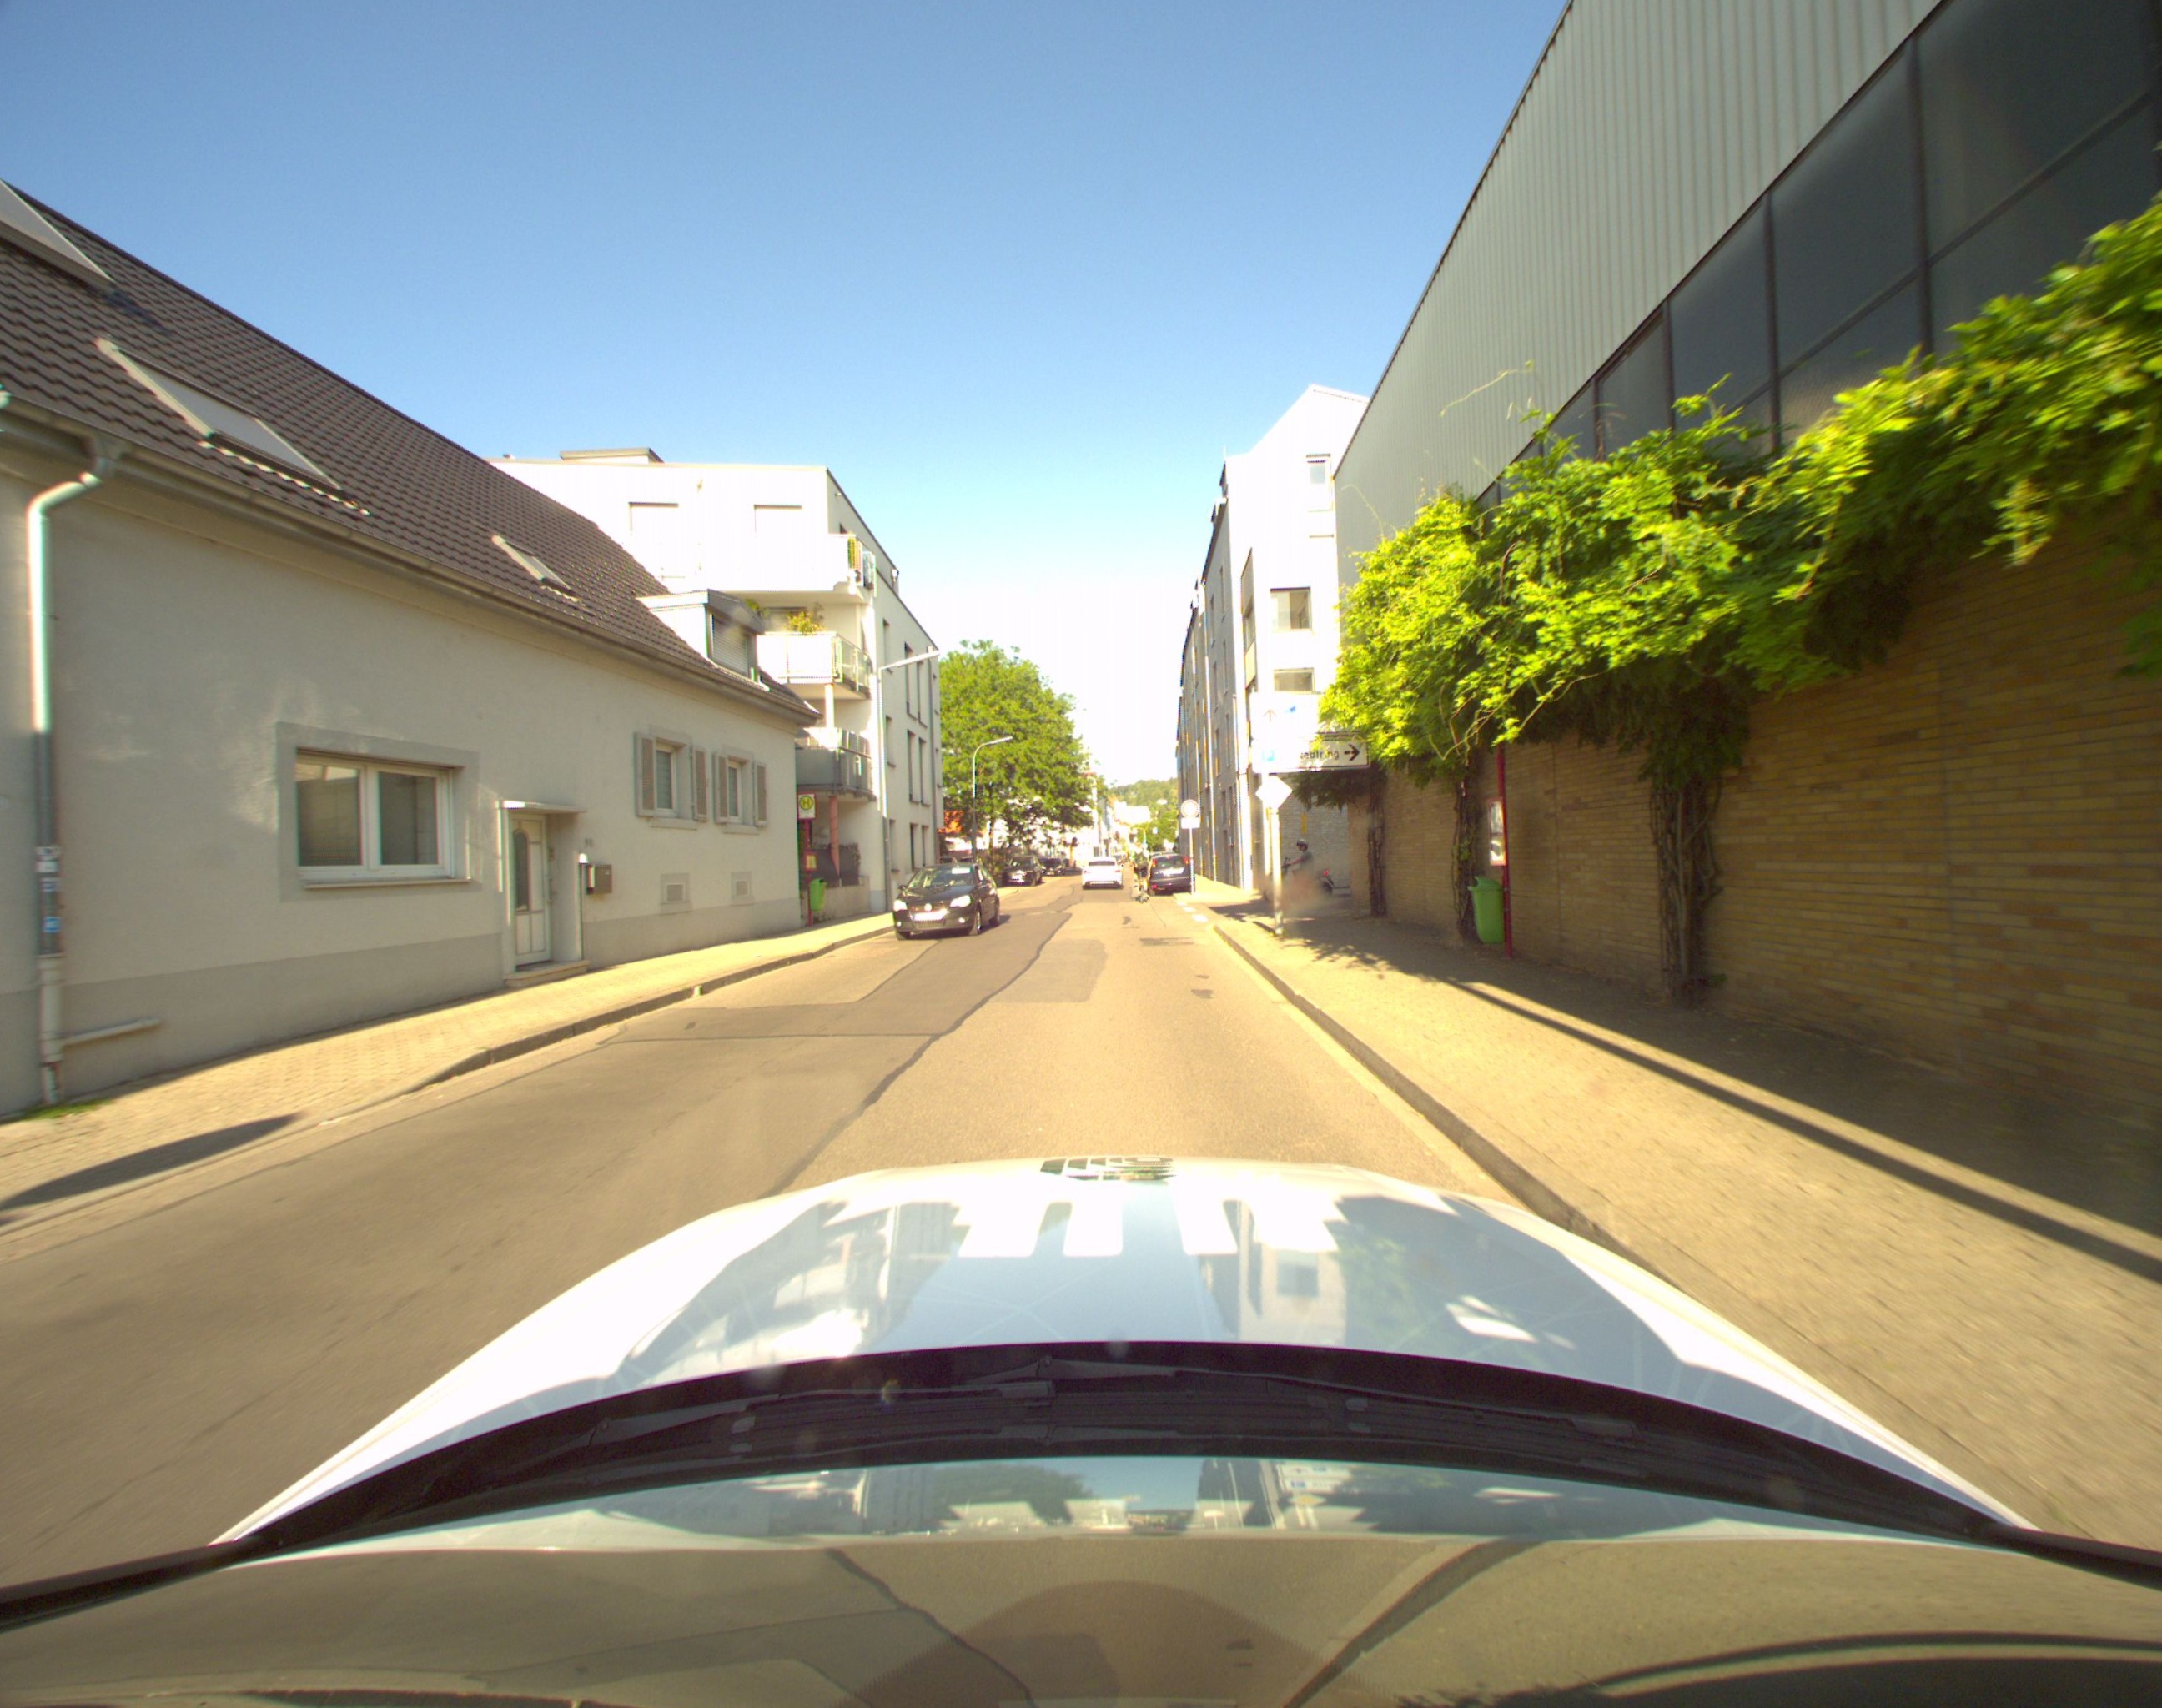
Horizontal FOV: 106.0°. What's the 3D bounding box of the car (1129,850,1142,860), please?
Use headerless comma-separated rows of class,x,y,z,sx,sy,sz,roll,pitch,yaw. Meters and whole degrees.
car,10.172,0.103,151.479,1.935,1.587,4.631,-6,0,7

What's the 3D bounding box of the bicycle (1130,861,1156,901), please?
bicycle,1.885,0.808,25.059,0.695,1.130,2.404,-2,0,3

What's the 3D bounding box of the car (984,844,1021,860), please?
car,-8.424,-0.203,87.688,3.896,1.575,1.706,-3,0,-6

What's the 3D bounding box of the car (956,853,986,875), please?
car,-8.855,0.779,65.775,1.784,1.689,3.965,-1,1,0

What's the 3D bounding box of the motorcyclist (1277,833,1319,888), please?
motorcyclist,5.991,0.181,22.478,0.868,1.472,0.901,-3,-1,31

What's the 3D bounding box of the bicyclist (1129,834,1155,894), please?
bicyclist,1.860,0.306,25.033,0.695,1.790,1.041,-2,0,3

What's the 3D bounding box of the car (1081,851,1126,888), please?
car,0.970,0.654,36.592,1.836,1.491,4.144,-2,0,1

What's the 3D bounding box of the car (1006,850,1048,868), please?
car,-5.363,0.456,81.128,3.883,1.575,1.712,-3,0,4

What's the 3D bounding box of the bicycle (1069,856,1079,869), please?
bicycle,-0.673,0.885,82.039,0.832,1.217,2.843,-3,0,1

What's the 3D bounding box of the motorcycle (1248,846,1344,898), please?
motorcycle,5.939,0.509,22.514,2.312,1.281,0.901,-5,-2,31

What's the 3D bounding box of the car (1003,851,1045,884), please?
car,-3.363,0.757,48.533,1.845,1.791,4.611,-3,0,3

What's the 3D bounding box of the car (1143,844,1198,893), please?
car,3.364,0.521,31.206,1.624,1.587,4.070,-6,0,1

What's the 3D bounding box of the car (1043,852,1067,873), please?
car,-2.113,0.711,66.806,1.698,1.575,3.915,-3,0,1

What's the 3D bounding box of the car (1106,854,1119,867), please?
car,4.081,0.807,105.443,1.658,1.575,3.915,-3,0,1

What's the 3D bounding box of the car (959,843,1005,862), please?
car,-9.170,-0.120,75.724,3.880,1.575,1.713,-2,0,6

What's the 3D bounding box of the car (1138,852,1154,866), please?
car,9.276,0.716,116.761,1.847,1.791,4.606,-3,0,0

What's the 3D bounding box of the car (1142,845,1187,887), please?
car,3.601,0.485,35.733,1.658,1.702,3.916,-3,0,2

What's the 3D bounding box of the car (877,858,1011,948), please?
car,-2.714,0.918,17.146,1.835,1.491,4.146,-5,0,2

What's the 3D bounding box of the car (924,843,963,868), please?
car,-9.060,0.077,54.030,1.852,1.587,4.619,-1,1,-1
